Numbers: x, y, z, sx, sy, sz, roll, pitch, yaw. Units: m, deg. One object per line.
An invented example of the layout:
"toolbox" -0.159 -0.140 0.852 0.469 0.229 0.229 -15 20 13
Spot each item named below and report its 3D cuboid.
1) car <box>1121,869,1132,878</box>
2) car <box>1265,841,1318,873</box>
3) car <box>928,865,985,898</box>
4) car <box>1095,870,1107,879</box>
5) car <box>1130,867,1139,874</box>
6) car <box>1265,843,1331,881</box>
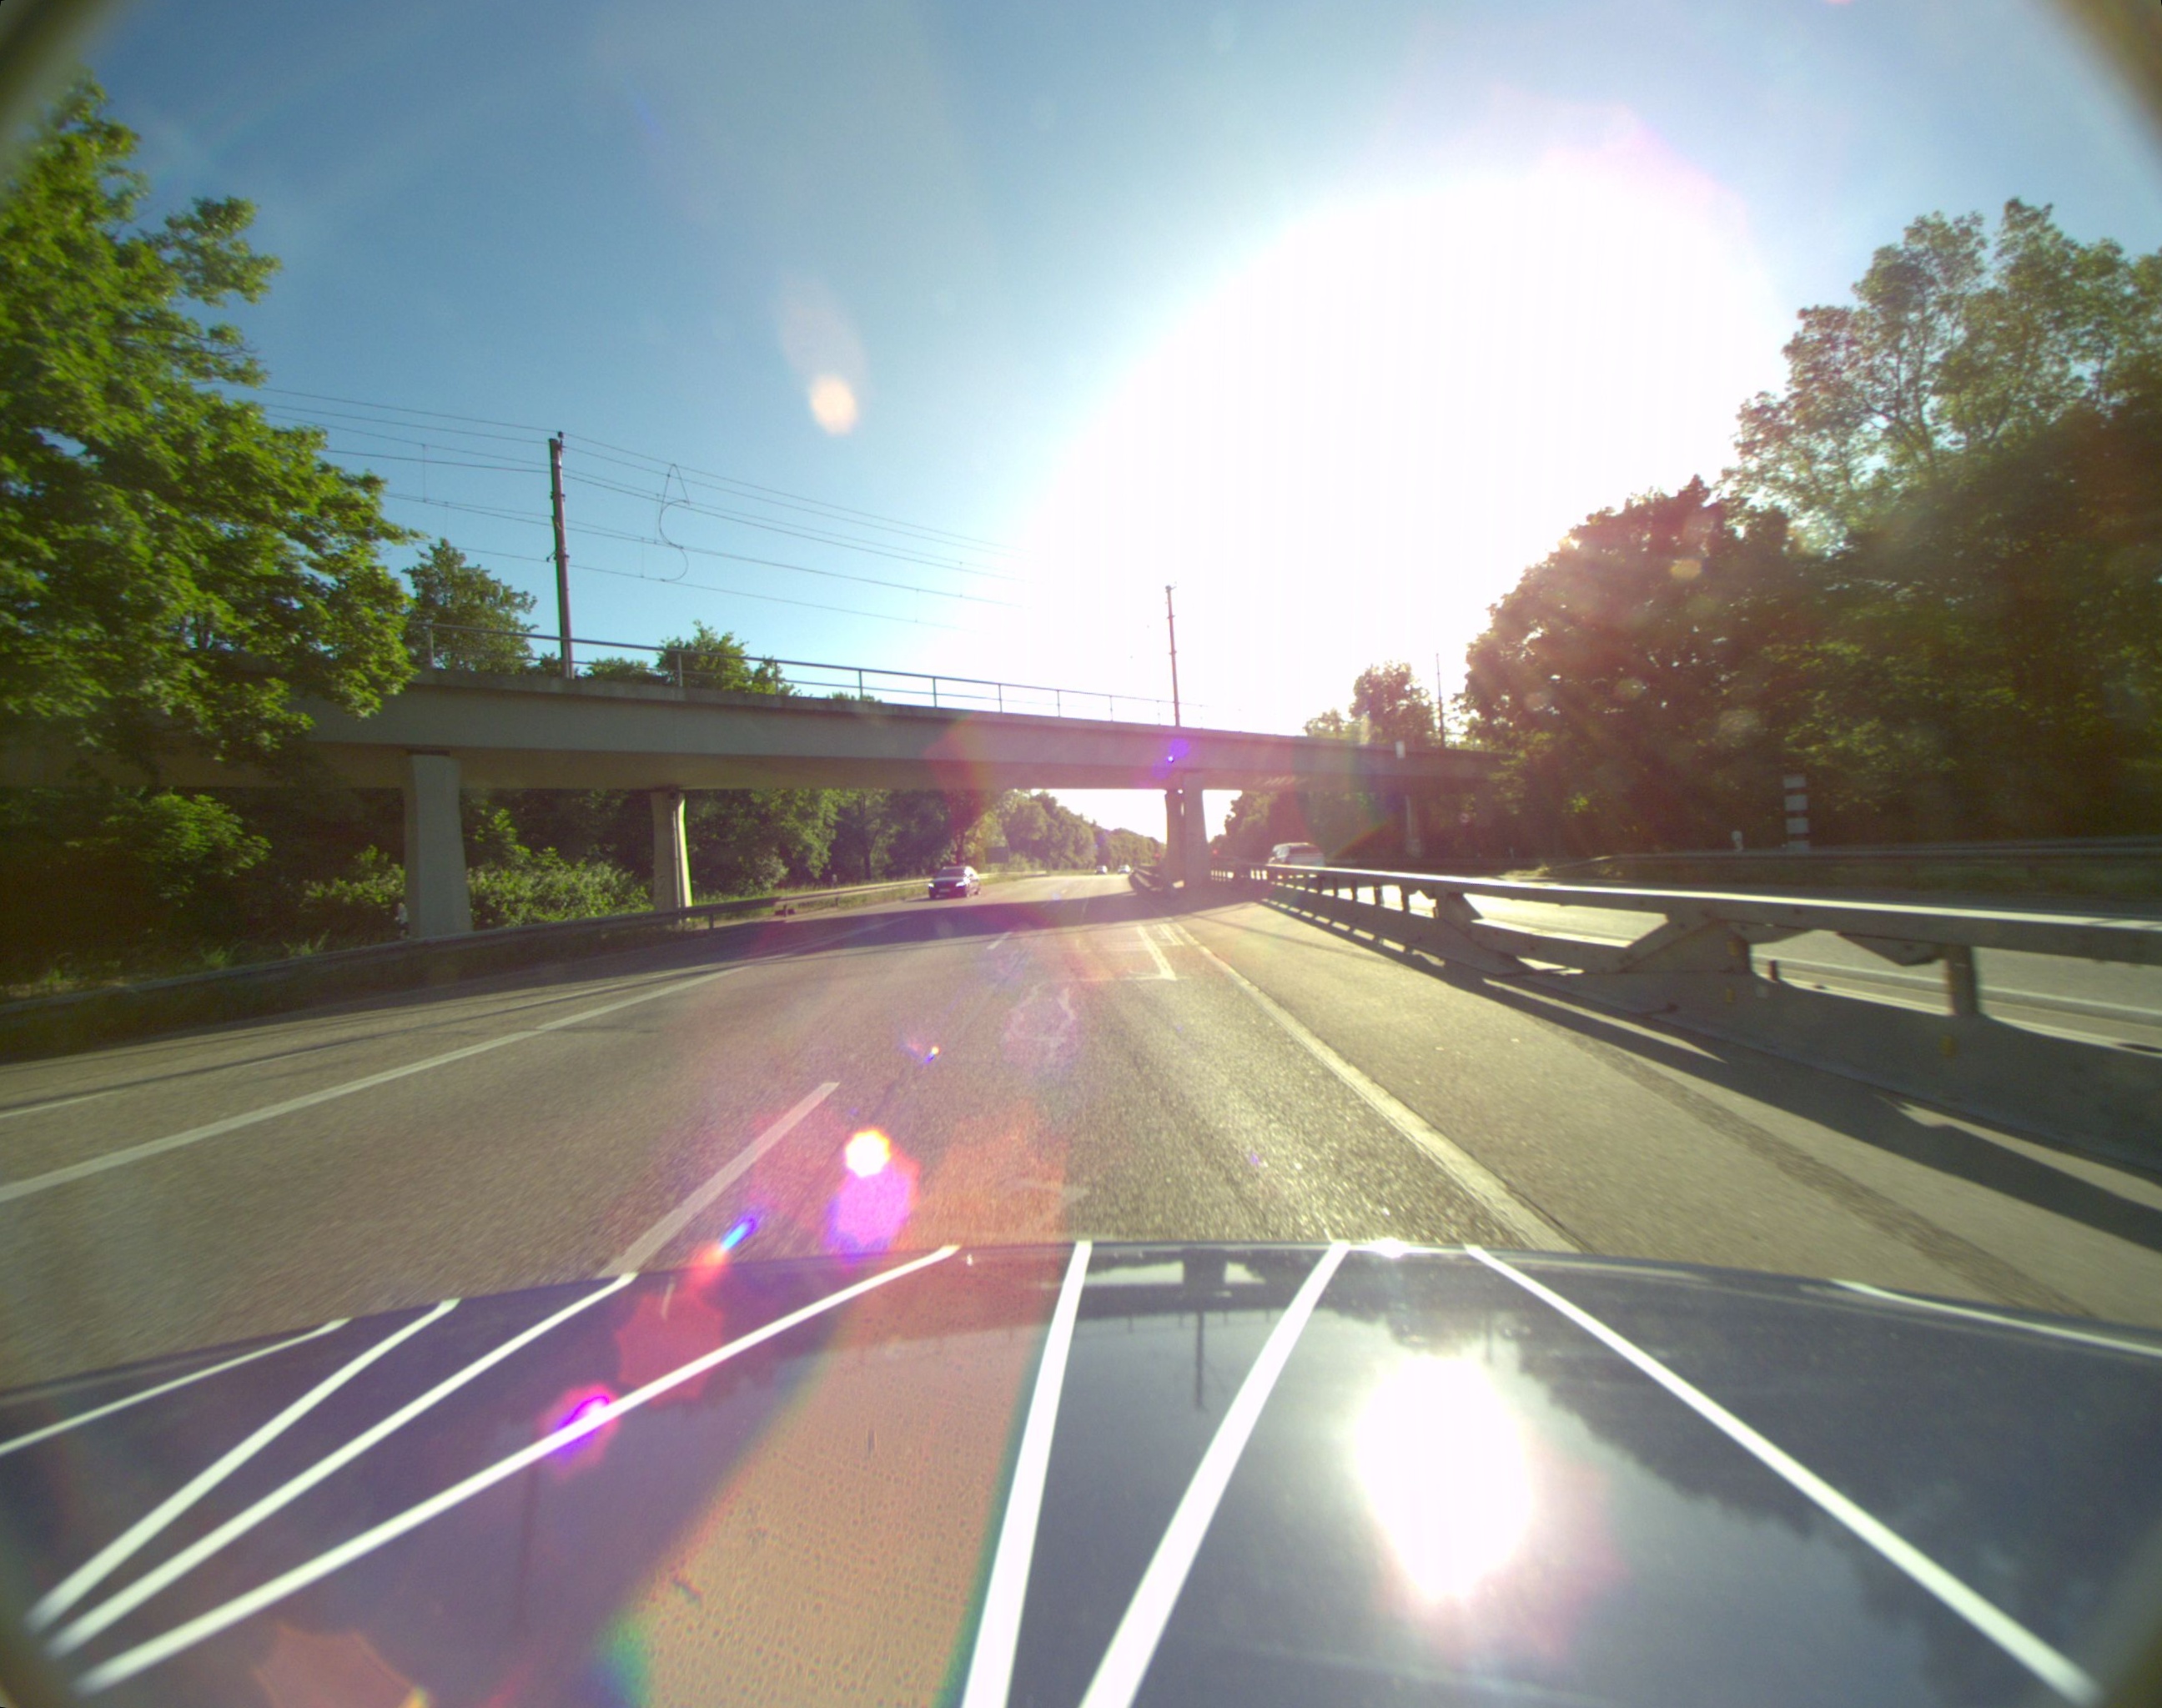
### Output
"car" 7.563 3.190 126.798 1.725 1.412 3.670 -3 0 3
"car" 13.554 0.206 49.330 1.998 1.899 5.522 -2 0 2
"car" -5.914 1.287 36.487 1.763 1.401 4.056 -2 0 4
"car" 3.283 3.368 126.073 1.682 1.412 3.671 -3 0 5
"car" 11.683 3.589 165.390 1.725 1.412 3.671 -3 0 6
"car" 9.796 0.358 34.655 1.791 1.569 4.533 -2 0 1
